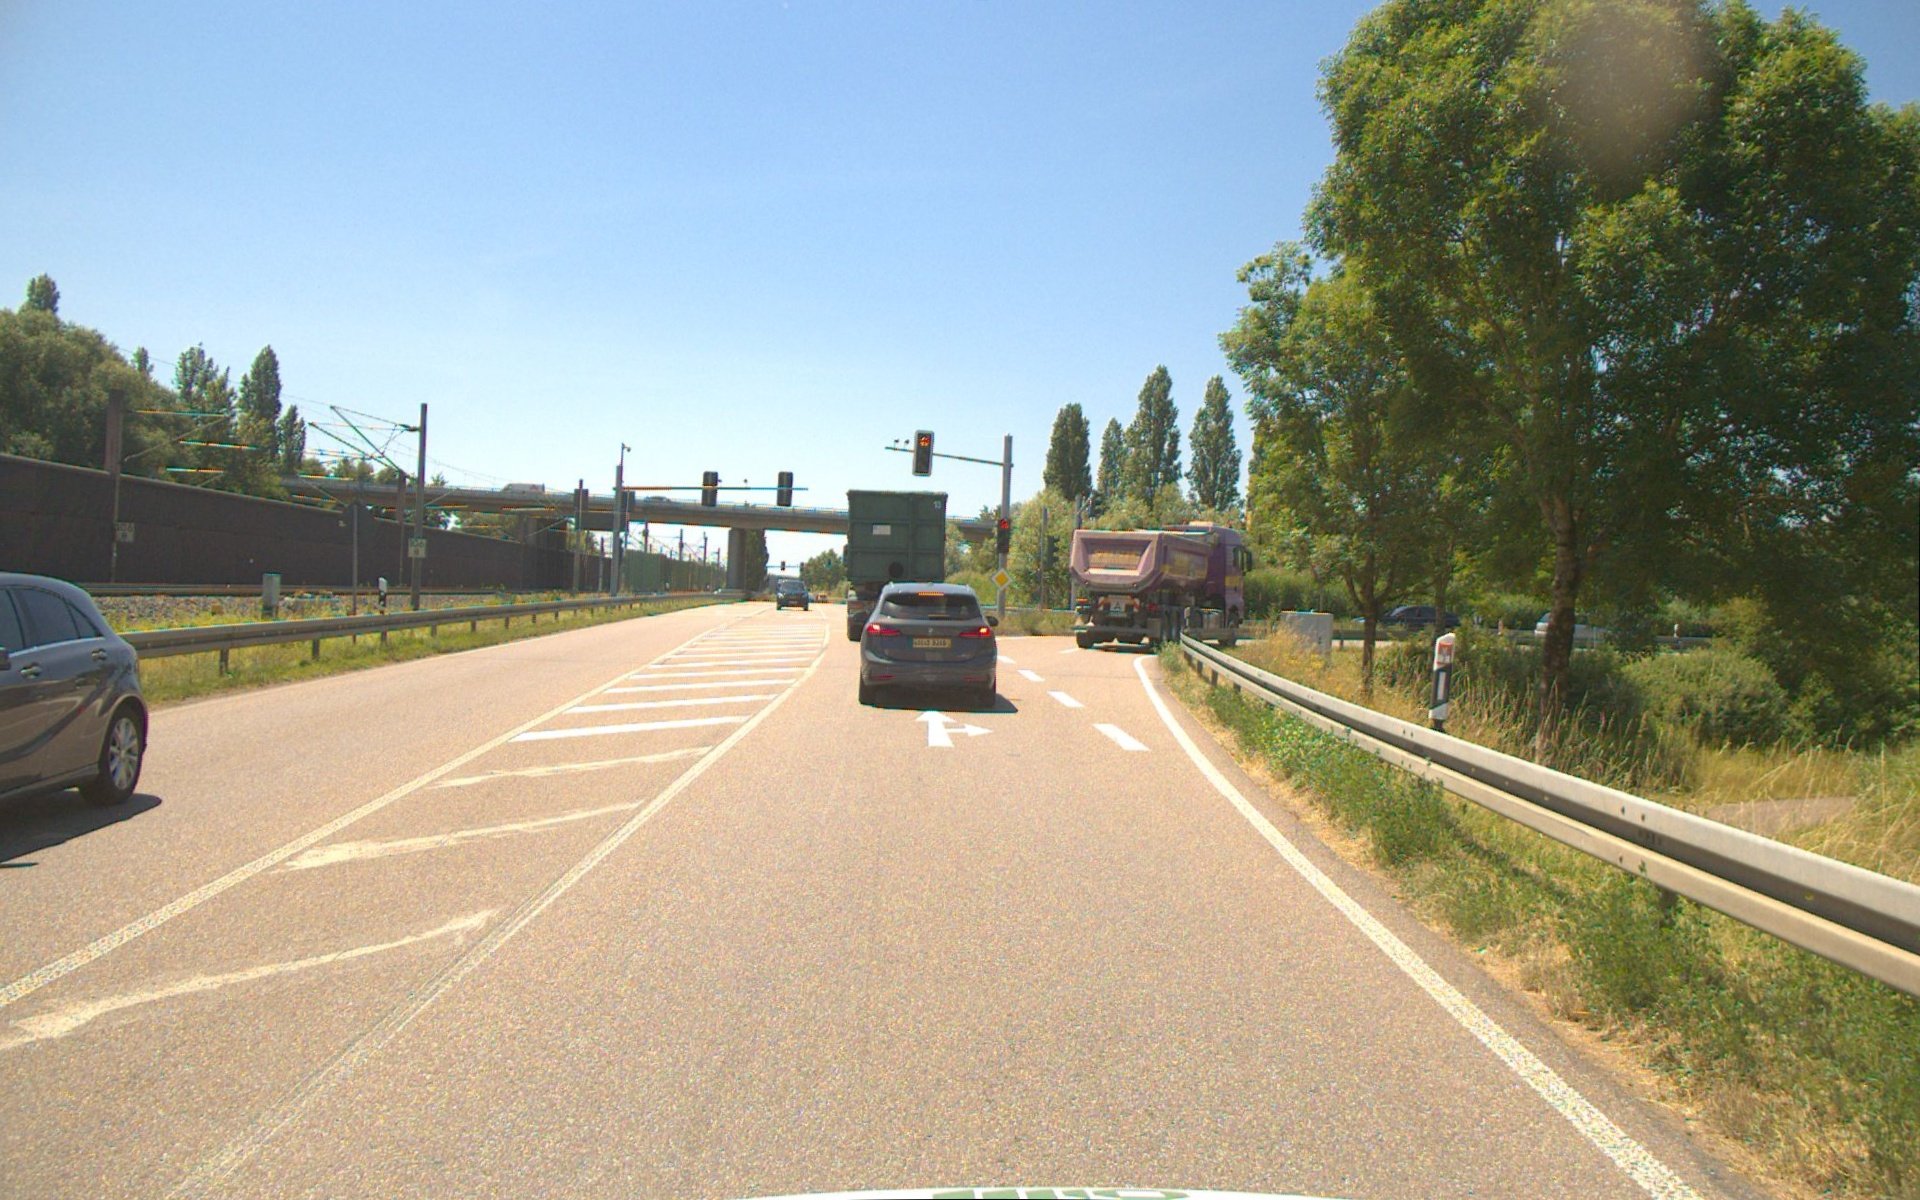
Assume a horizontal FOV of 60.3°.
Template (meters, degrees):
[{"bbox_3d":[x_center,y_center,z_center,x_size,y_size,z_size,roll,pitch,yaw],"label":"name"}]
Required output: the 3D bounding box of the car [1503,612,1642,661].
[{"bbox_3d":[22.928,1.367,61.958,4.565,1.660,1.928,1,0,-12],"label":"car"}]

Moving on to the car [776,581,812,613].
[{"bbox_3d":[-9.954,-0.210,99.538,1.889,1.798,4.595,2,1,-3],"label":"car"}]

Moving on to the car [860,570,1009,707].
[{"bbox_3d":[-0.368,0.471,22.623,1.807,1.651,4.225,1,0,-1],"label":"car"}]

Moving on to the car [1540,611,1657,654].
[{"bbox_3d":[26.837,1.368,69.626,4.140,1.660,1.932,2,0,-3],"label":"car"}]

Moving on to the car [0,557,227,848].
[{"bbox_3d":[-5.950,0.502,9.311,1.828,1.511,4.882,1,0,-5],"label":"car"}]

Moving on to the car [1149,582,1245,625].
[{"bbox_3d":[9.824,0.129,68.753,3.634,1.660,1.733,2,0,-5],"label":"car"}]

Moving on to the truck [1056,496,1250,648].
[{"bbox_3d":[5.978,-0.729,48.704,2.775,3.888,11.885,1,0,21],"label":"truck"}]

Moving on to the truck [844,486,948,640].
[{"bbox_3d":[-1.893,-1.002,46.423,2.538,3.802,9.569,1,1,-3],"label":"truck"}]

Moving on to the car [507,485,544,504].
[{"bbox_3d":[-51.746,-12.550,196.991,3.909,2.049,1.998,2,0,-5],"label":"car"}]
